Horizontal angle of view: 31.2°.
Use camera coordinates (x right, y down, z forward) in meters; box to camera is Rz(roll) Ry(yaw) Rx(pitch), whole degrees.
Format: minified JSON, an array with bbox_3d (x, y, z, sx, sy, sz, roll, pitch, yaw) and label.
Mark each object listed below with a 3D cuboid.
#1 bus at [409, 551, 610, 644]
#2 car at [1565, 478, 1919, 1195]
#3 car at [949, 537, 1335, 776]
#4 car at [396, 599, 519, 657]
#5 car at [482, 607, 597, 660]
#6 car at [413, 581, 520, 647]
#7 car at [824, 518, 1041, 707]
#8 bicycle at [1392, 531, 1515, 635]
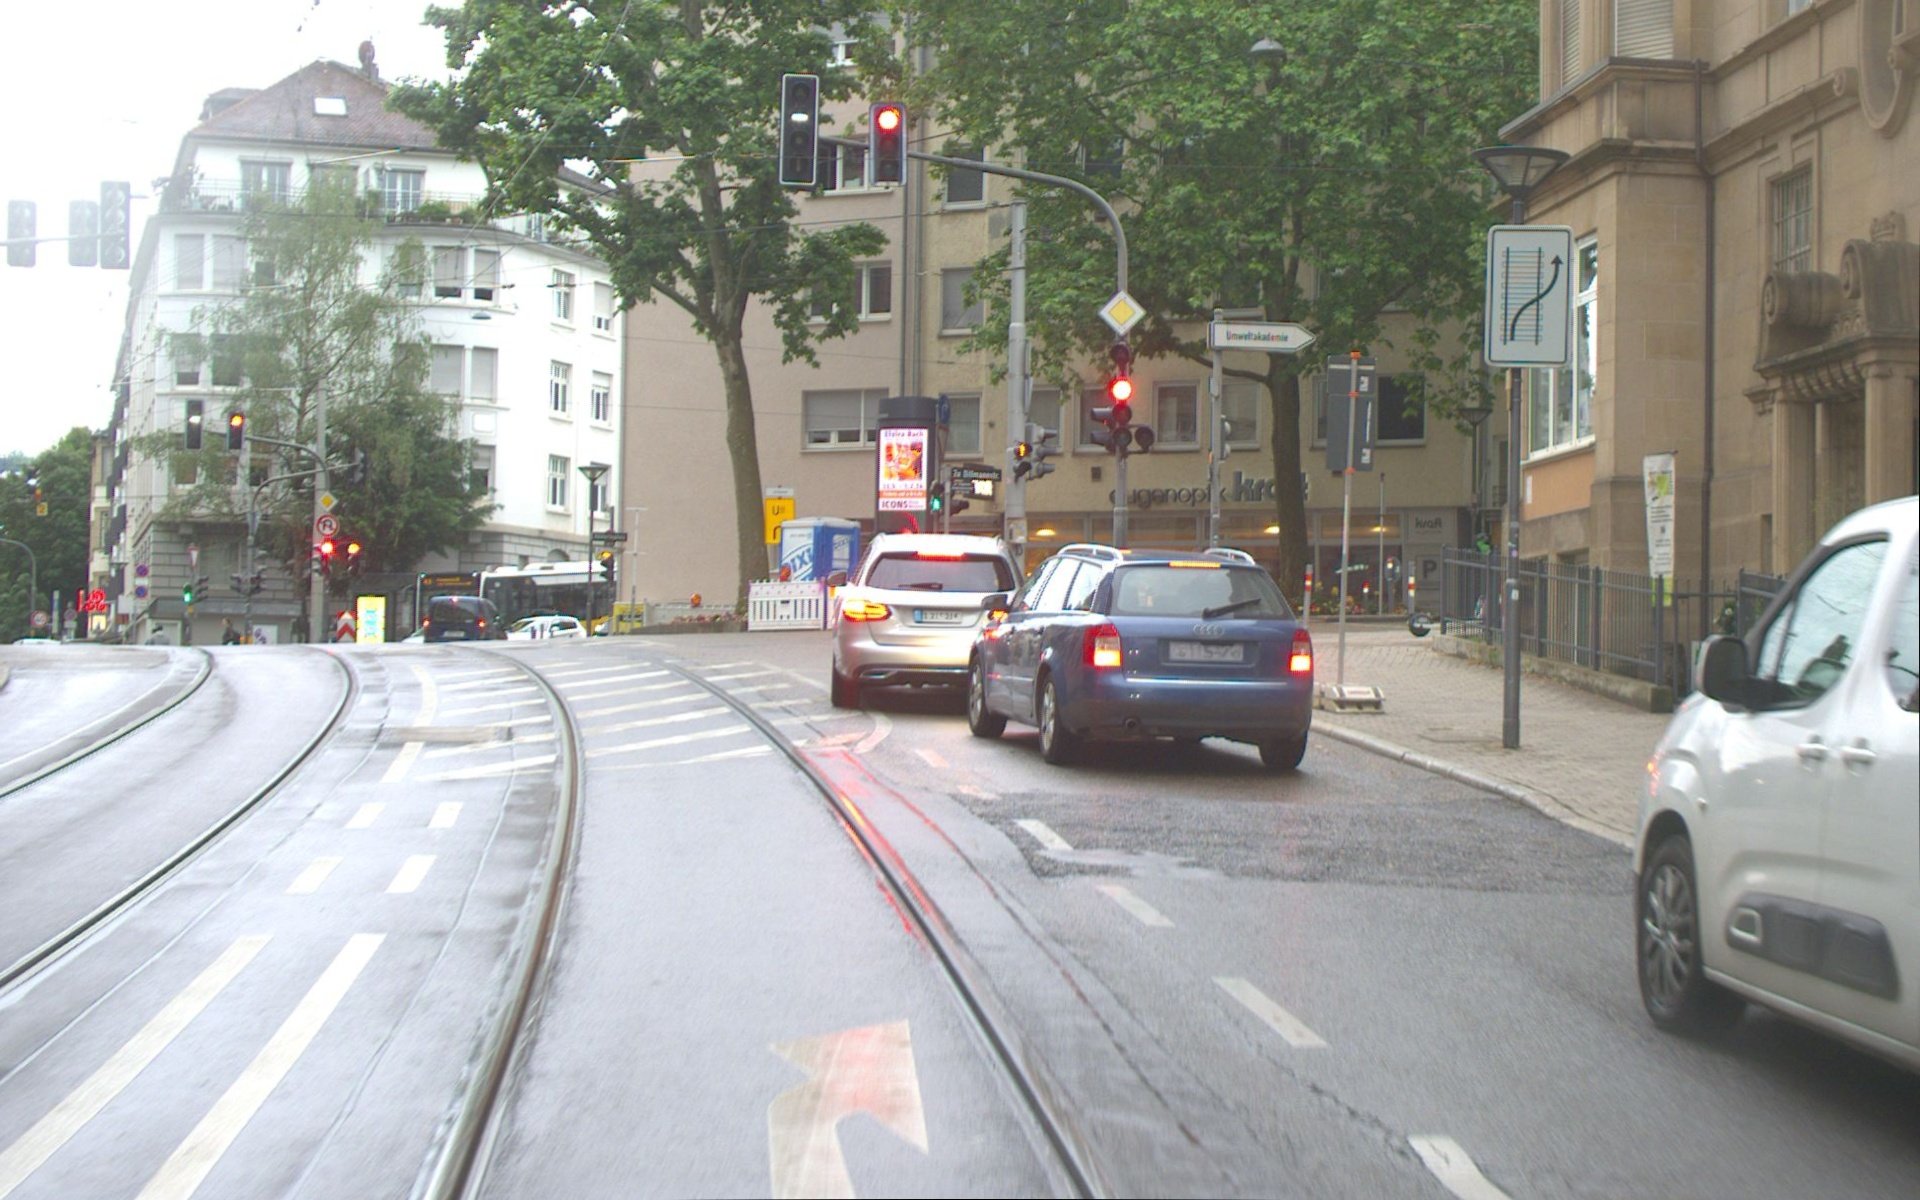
[{"bbox_3d":[-14.732,-0.134,113.130,2.857,2.851,8.725,1,1,20],"label":"bus"},{"bbox_3d":[3.200,0.599,9.718,1.797,1.759,4.464,3,1,-4],"label":"car"},{"bbox_3d":[1.157,0.330,23.821,1.710,1.410,4.038,2,2,-11],"label":"car"},{"bbox_3d":[-14.937,0.816,102.359,1.796,1.609,3.995,1,1,23],"label":"car"},{"bbox_3d":[-13.082,1.035,107.100,1.796,1.505,3.995,1,1,23],"label":"car"},{"bbox_3d":[-12.361,0.332,86.245,1.794,1.505,4.000,-1,1,4],"label":"car"},{"bbox_3d":[-0.279,0.059,29.659,1.710,1.451,3.553,2,2,-2],"label":"car"},{"bbox_3d":[5.741,-0.200,40.019,1.300,1.169,0.526,-1,1,-6],"label":"bicycle"}]
